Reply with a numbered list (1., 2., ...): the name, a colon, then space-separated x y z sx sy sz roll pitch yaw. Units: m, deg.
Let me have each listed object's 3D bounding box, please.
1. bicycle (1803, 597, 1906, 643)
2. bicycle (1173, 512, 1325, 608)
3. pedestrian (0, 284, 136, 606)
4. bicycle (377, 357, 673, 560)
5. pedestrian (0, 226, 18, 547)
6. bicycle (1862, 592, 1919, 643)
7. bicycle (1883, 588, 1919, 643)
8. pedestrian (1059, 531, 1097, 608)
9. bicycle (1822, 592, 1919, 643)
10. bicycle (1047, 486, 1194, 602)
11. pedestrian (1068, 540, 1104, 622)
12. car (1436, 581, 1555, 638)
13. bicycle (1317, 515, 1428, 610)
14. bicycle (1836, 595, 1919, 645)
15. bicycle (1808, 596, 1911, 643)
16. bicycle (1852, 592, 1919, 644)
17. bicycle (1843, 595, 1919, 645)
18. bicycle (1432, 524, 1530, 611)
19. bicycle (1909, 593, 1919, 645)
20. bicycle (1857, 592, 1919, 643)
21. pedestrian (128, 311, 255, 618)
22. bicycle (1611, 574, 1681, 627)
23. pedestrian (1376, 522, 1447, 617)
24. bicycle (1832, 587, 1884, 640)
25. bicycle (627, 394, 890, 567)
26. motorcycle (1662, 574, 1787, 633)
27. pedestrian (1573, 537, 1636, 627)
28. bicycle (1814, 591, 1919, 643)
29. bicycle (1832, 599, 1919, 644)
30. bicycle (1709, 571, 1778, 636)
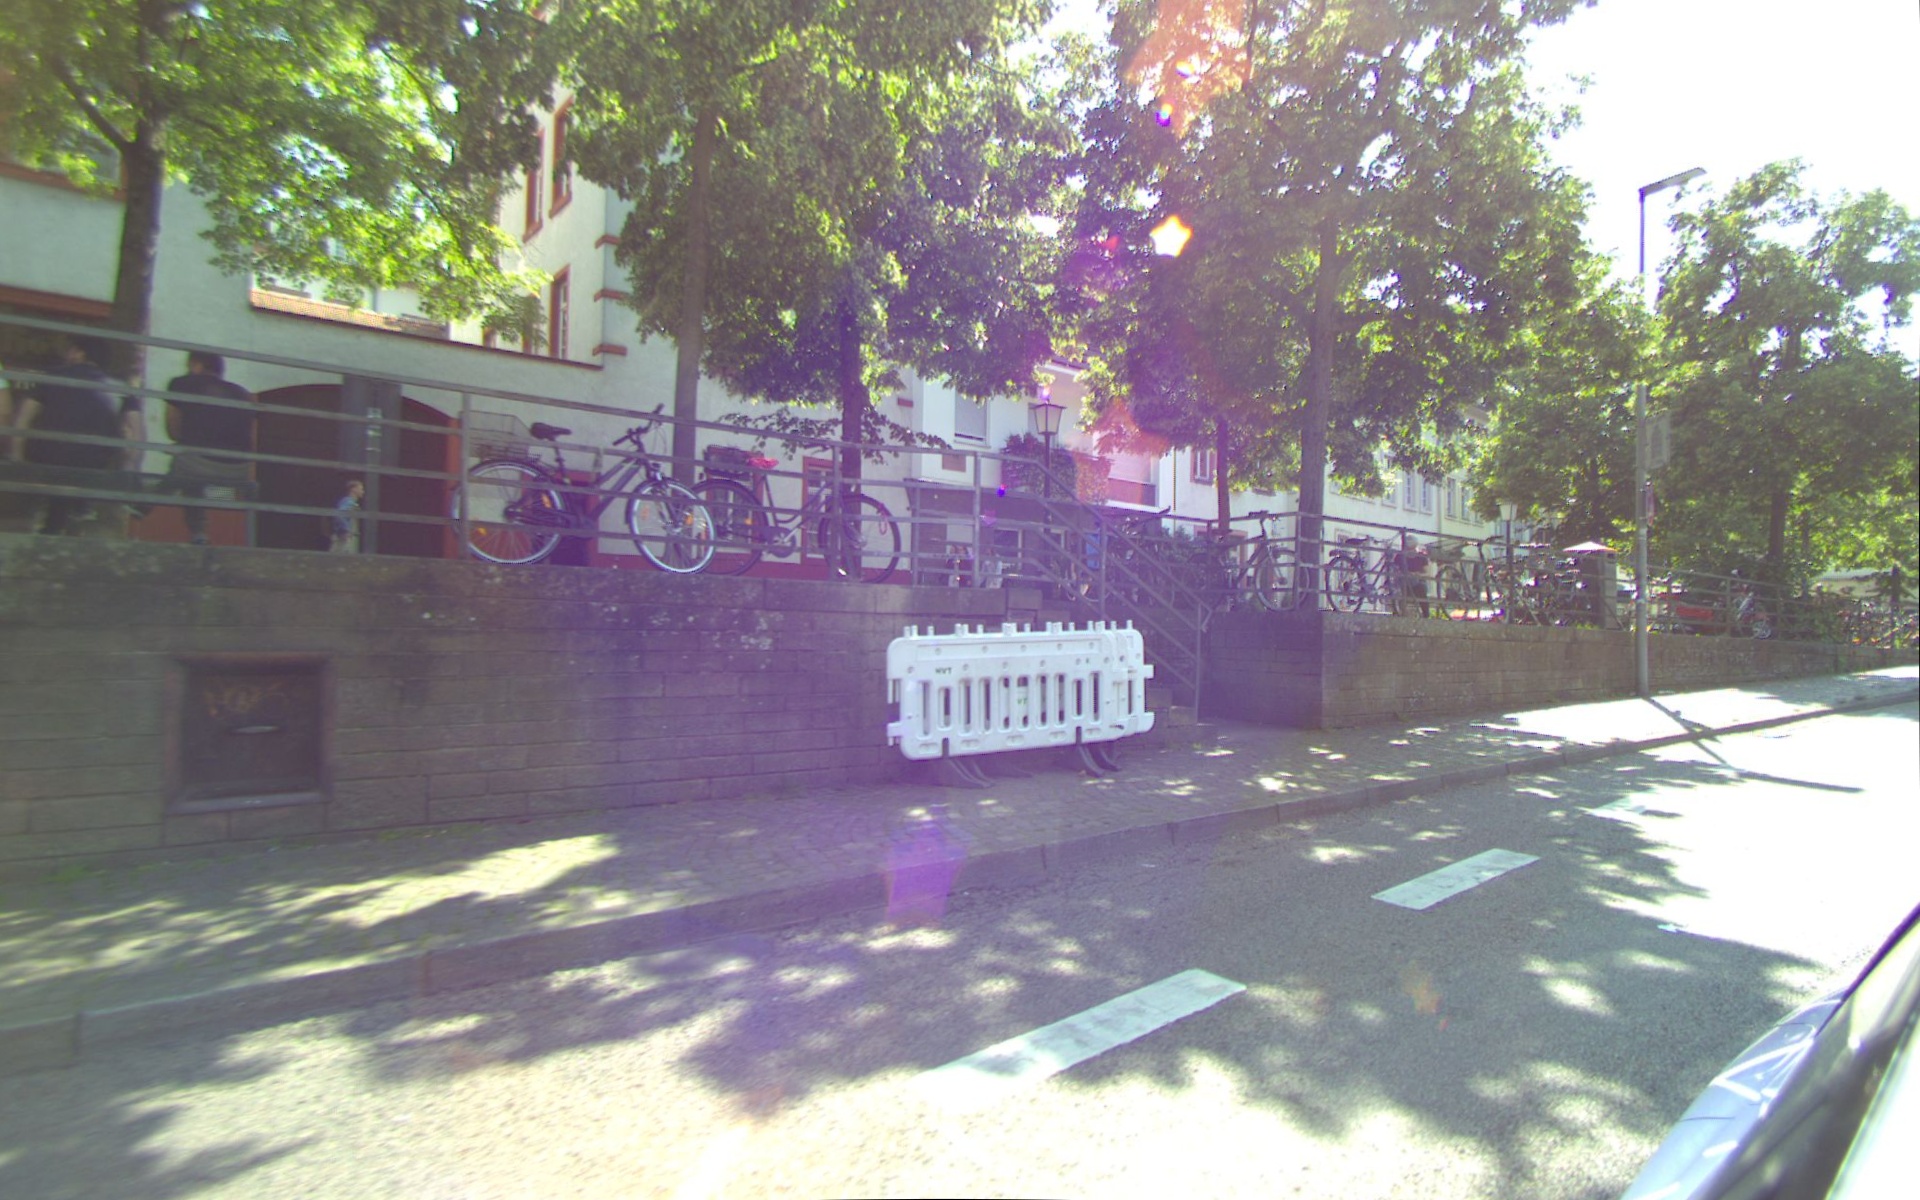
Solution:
1. bicycle: 23.438 0.505 26.552 0.415 1.114 1.956 1 1 -35
2. bicycle: 3.269 -0.434 11.631 0.293 1.017 1.859 2 -1 -38
3. pedestrian: -5.217 -0.841 5.900 0.562 1.742 0.721 1 -1 -35
4. bicycle: -2.759 -0.850 6.509 1.700 1.120 0.411 1 0 -31
5. pedestrian: -5.647 -1.186 5.466 0.698 1.742 0.721 1 -1 -35
6. bicycle: 27.138 0.506 28.729 0.573 1.385 2.163 1 1 -35
7. bicycle: 22.813 0.362 24.359 2.122 1.277 0.476 1 1 -38
8. pedestrian: 2.435 -0.612 20.924 0.596 1.565 0.469 1 -2 -33
9. bicycle: 24.681 0.451 27.259 0.413 1.277 2.163 1 1 -35
10. bicycle: 1.815 -0.581 11.223 1.897 1.155 0.383 2 -1 -37
11. pedestrian: 2.587 -0.373 20.781 0.492 1.657 0.542 1 -2 -33
12. car: 19.185 0.367 36.172 4.645 1.823 1.838 3 -1 -35
13. bicycle: 4.849 -0.414 11.833 1.825 1.017 0.299 2 -1 -37
14. bicycle: 25.406 0.542 27.634 0.467 1.277 2.163 1 1 -35
15. bicycle: 23.805 0.503 26.829 0.467 1.126 1.969 1 1 -35
16. bicycle: 26.292 0.498 28.143 0.467 1.385 2.163 1 1 -35
17. bicycle: 25.827 0.546 27.899 0.467 1.277 2.163 1 1 -35
18. bicycle: 6.680 -0.393 12.925 1.905 1.017 0.299 2 -1 -37
19. bicycle: 24.614 0.488 25.646 2.122 1.277 0.476 1 1 -38
20. bicycle: 26.701 0.502 28.425 0.467 1.385 2.163 1 1 -35
21. pedestrian: -4.668 -0.769 6.183 0.562 1.742 0.721 1 -1 -35
22. bicycle: 10.823 0.018 15.952 1.883 0.794 0.350 1 -1 -38
23. pedestrian: 6.316 -0.416 14.161 0.657 1.281 0.696 1 0 -39
24. bicycle: 19.425 0.304 21.884 2.121 1.062 0.302 2 0 -35
25. bicycle: -1.460 -0.836 7.549 1.885 1.120 0.411 1 0 -31
26. motorcycle: 15.257 0.057 20.241 0.565 1.112 1.917 1 1 -42
27. pedestrian: 10.571 -0.290 16.606 0.684 1.433 0.669 1 0 -36
28. bicycle: 24.276 0.422 27.045 0.467 1.277 2.163 1 1 -35
29. bicycle: 25.026 0.575 27.438 0.332 1.106 2.030 1 1 -35
30. bicycle: 14.162 0.070 18.285 1.881 1.126 0.345 1 0 -32
